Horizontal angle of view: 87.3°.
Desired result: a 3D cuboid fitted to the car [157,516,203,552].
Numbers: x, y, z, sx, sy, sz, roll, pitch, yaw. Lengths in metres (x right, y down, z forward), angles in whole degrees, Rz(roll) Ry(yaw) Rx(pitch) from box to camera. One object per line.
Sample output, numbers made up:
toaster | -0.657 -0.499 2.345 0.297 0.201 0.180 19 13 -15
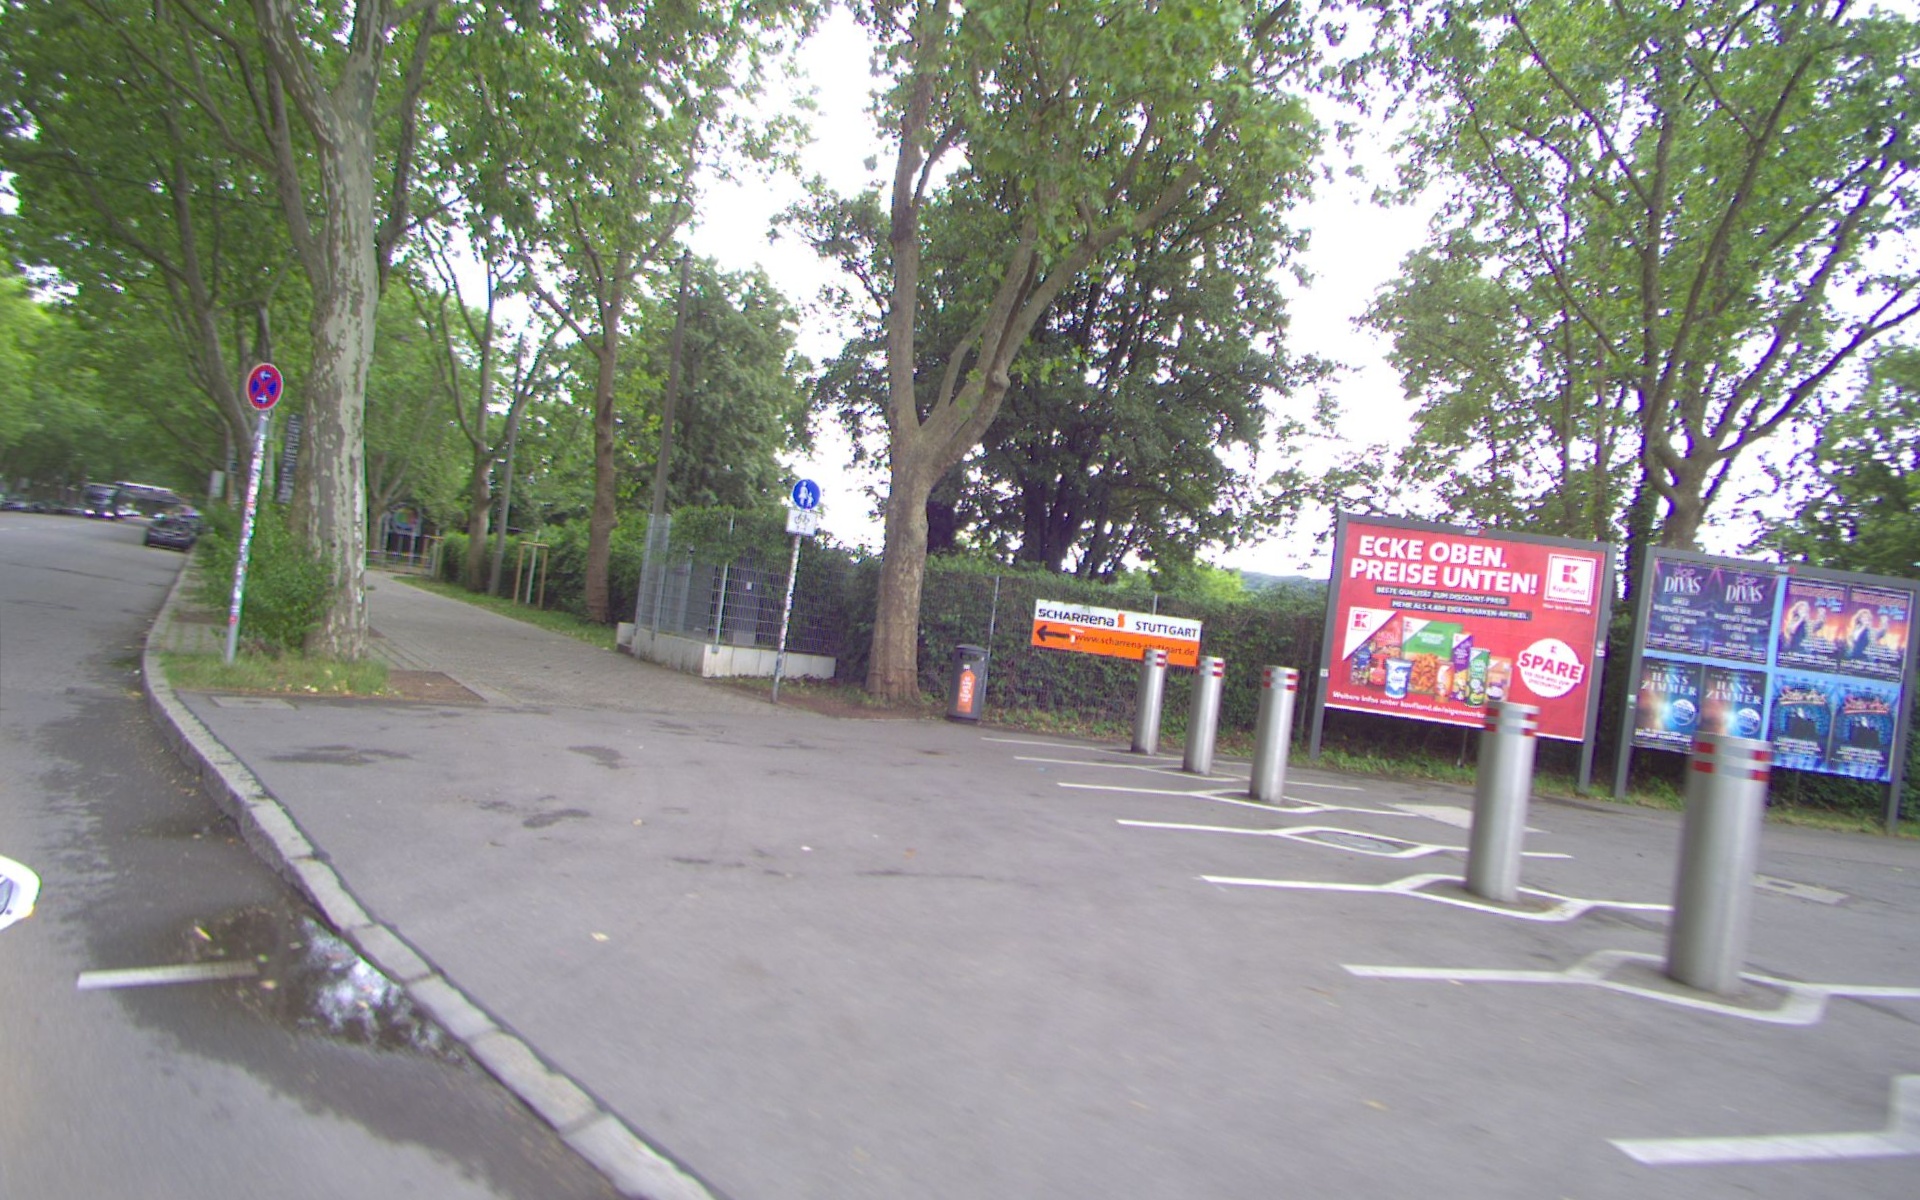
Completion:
car | -42.891 -3.645 55.303 1.715 1.583 4.050 13 -5 -39

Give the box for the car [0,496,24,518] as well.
car | -79.146 -7.740 83.377 1.886 1.455 3.959 7 -2 -39

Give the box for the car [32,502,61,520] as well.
car | -94.725 -9.175 104.368 1.886 1.455 3.959 7 -2 -39

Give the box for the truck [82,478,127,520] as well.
truck | -96.643 -11.340 113.798 2.625 3.949 9.452 6 -1 -35

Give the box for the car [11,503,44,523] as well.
car | -87.730 -8.134 94.697 1.886 1.455 3.959 7 -2 -39

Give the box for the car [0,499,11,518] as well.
car | -75.850 -7.272 78.801 1.724 1.348 3.960 7 -2 -38

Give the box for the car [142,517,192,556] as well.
car | -40.032 -3.217 50.856 1.694 1.534 4.408 13 -4 -37
